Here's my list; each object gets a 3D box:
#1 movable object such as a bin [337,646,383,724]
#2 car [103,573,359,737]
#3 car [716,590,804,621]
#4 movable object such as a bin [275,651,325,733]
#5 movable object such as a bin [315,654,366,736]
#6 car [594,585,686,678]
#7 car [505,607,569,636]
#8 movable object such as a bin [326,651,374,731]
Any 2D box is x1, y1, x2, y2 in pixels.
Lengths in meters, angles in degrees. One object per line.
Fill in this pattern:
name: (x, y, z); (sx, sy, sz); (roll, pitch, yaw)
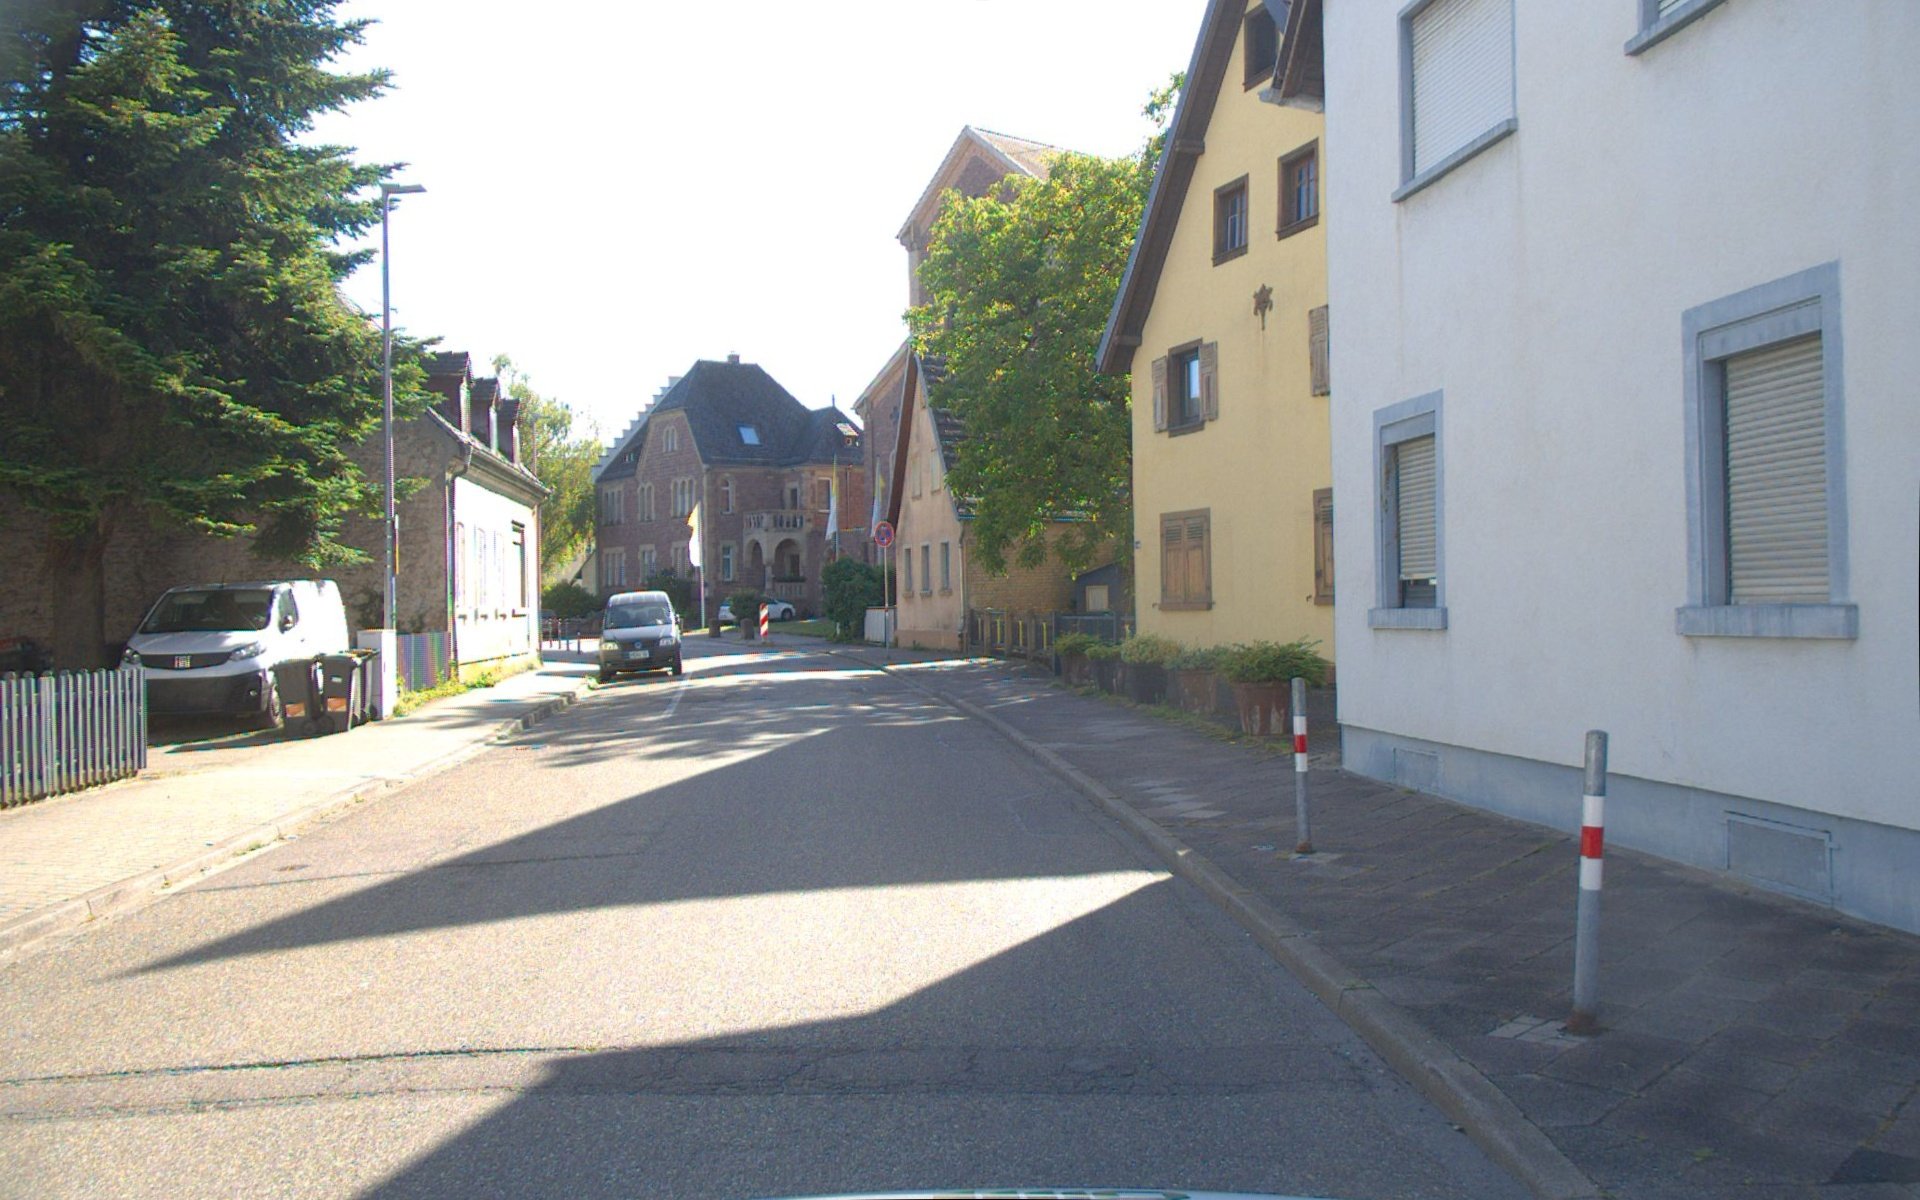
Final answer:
movable object such as a bin: (-7.725, 1.085, 21.313); (0.412, 0.940, 0.490); (-2, 2, -7)
car: (-10.039, 0.641, 23.255); (1.904, 1.989, 5.133); (-1, 1, -8)
car: (-10.174, 0.276, 84.181); (4.207, 1.425, 1.693); (-2, 0, -40)
movable object such as a bin: (-8.037, 1.116, 20.156); (0.412, 0.940, 0.490); (-2, 2, -7)
movable object such as a bin: (-7.606, 1.158, 20.317); (0.431, 0.940, 0.490); (-2, 2, -7)
car: (-7.069, 0.642, 36.875); (1.793, 1.845, 4.192); (-3, 1, -10)
car: (-22.033, 1.135, 86.087); (1.700, 1.425, 4.191); (-2, 0, -37)
movable object such as a bin: (-7.666, 1.138, 20.812); (0.420, 0.940, 0.490); (-2, 2, -7)
